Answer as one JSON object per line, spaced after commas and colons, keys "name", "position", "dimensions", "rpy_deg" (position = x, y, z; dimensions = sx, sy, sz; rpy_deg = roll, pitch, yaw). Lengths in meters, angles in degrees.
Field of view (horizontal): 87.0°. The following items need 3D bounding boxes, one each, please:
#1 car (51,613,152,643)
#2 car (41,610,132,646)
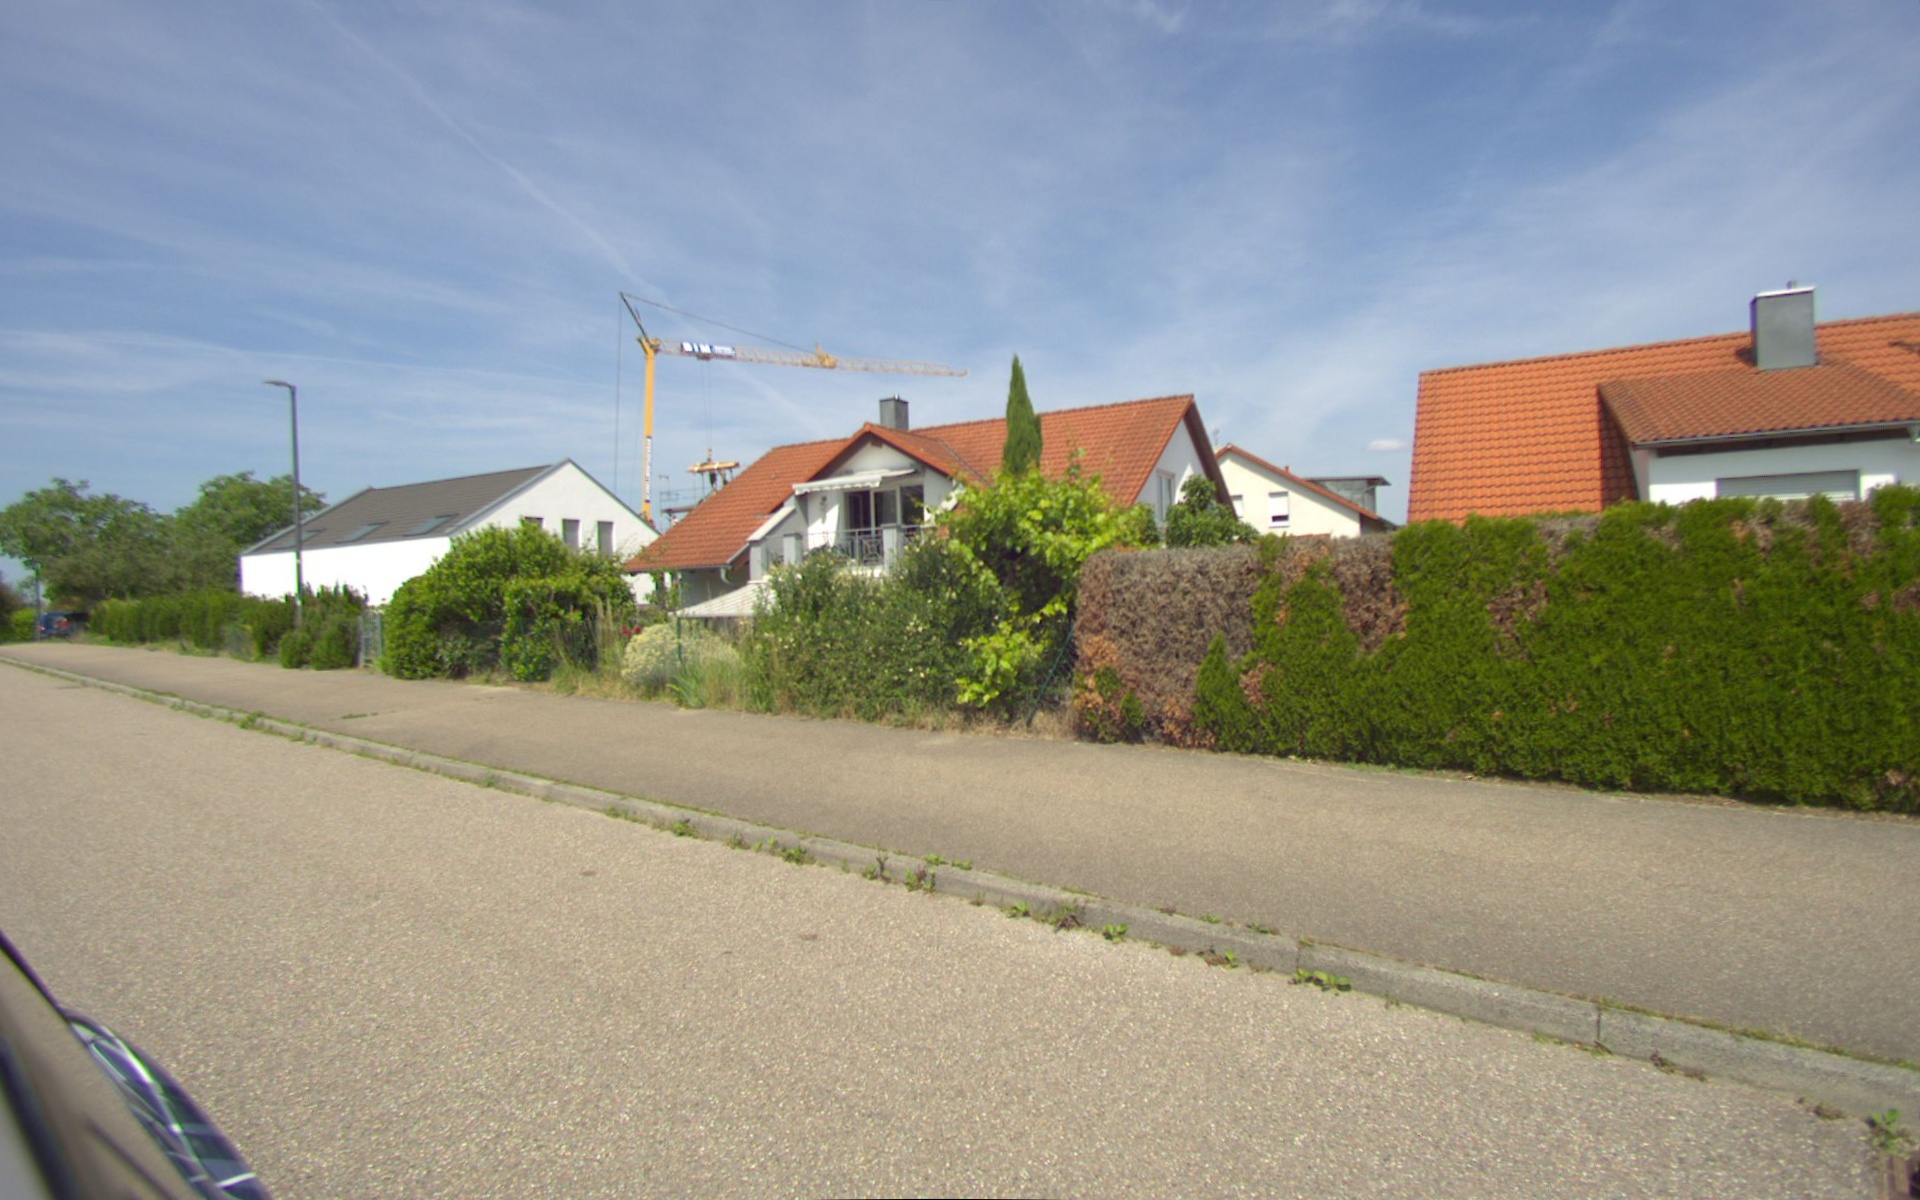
{"name": "car", "position": [-44.285, 1.414, 52.225], "dimensions": [3.832, 1.331, 1.802], "rpy_deg": [-2, 0, -45]}
{"name": "car", "position": [-50.041, 1.599, 58.013], "dimensions": [3.832, 1.826, 1.802], "rpy_deg": [-2, 1, -45]}
